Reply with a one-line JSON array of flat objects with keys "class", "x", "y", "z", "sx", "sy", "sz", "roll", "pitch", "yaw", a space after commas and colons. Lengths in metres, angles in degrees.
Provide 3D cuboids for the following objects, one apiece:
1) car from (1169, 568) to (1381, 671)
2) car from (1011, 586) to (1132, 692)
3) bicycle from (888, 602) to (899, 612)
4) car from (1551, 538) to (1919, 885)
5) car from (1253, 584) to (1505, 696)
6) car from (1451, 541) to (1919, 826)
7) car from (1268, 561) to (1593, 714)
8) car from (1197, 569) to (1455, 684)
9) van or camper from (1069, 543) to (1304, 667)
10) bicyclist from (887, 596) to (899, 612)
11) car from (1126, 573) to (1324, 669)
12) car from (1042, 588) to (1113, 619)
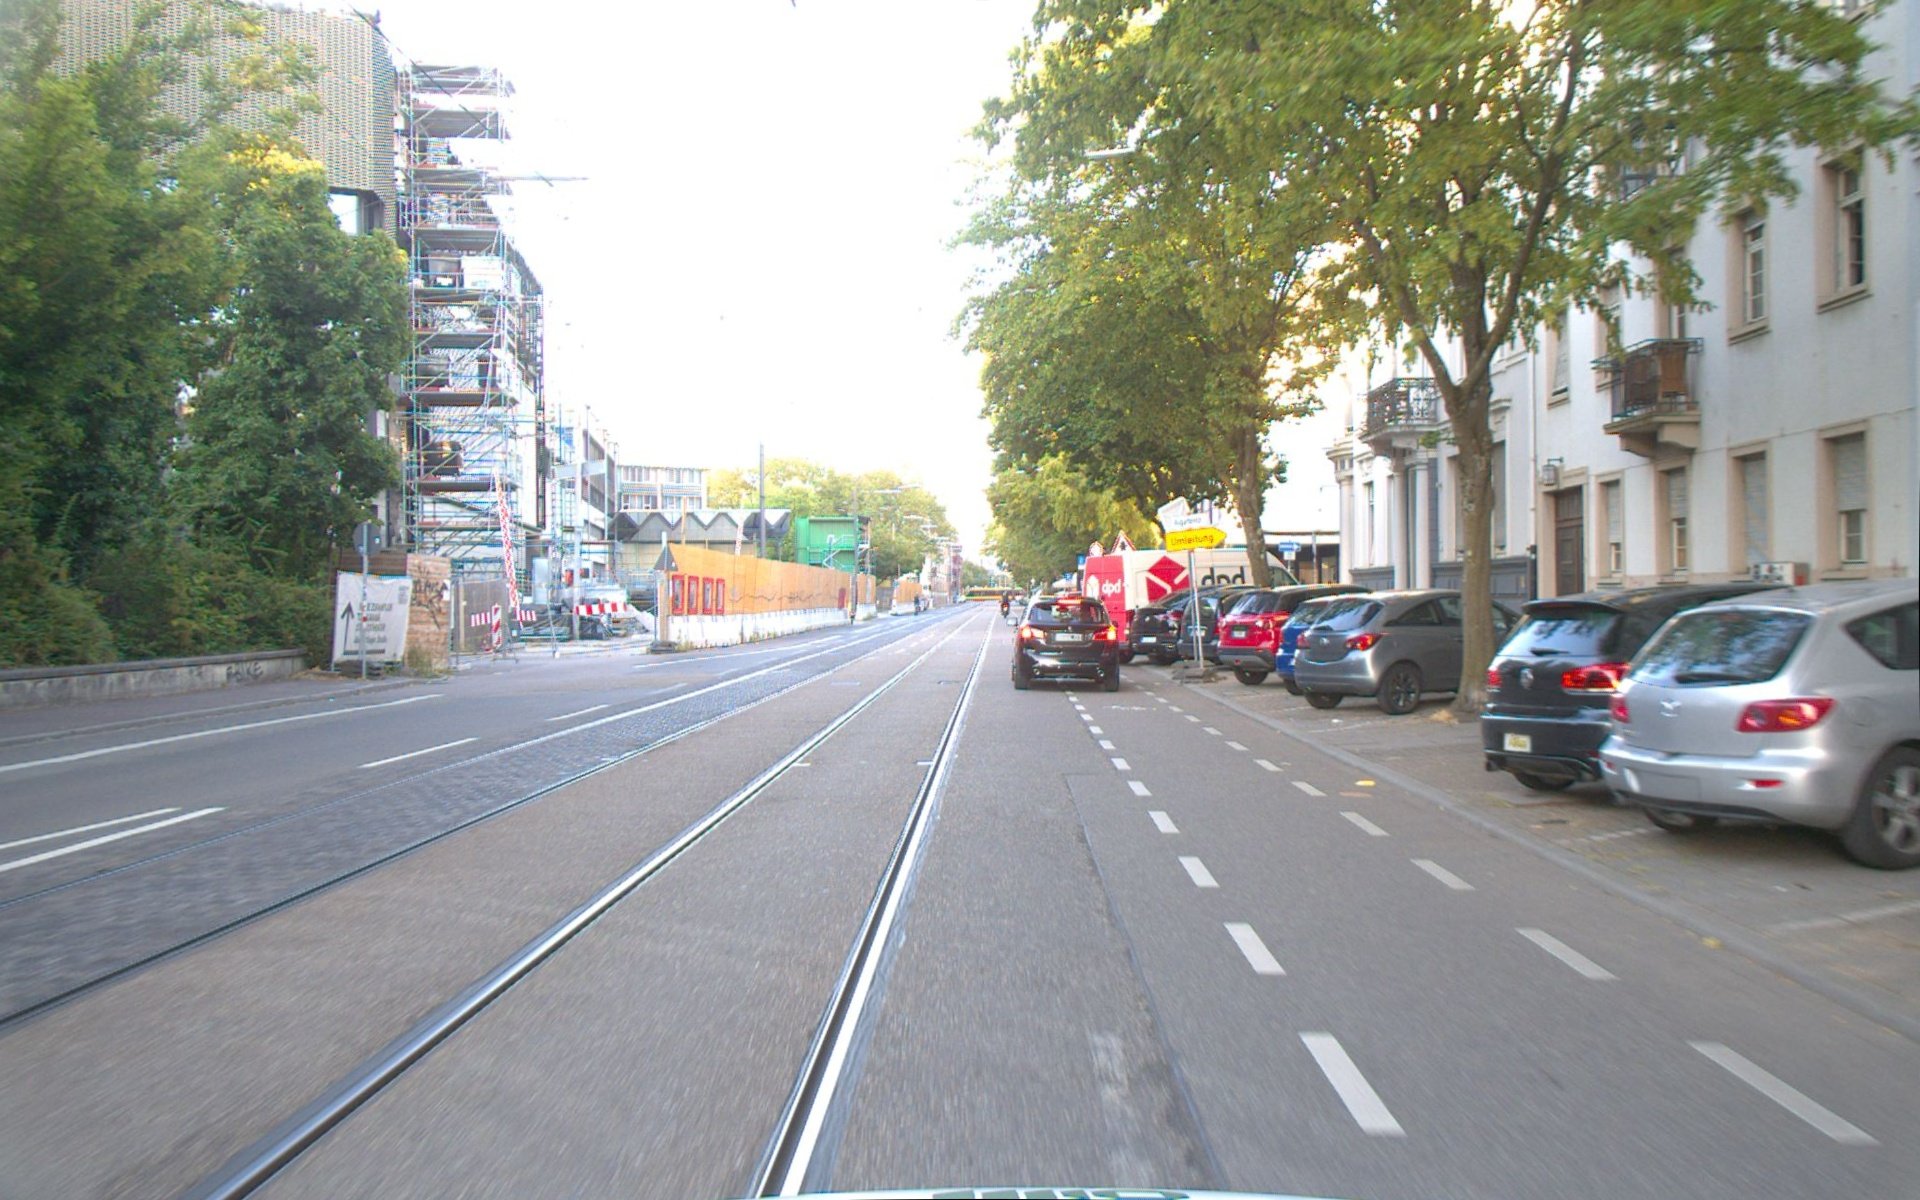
[{"class": "car", "x": 6.476, "y": 0.393, "z": 33.974, "sx": 3.893, "sy": 1.796, "sz": 1.826, "roll": -4, "pitch": 0, "yaw": -25}, {"class": "car", "x": 1.862, "y": 0.615, "z": 28.731, "sx": 1.843, "sy": 1.648, "sz": 4.001, "roll": 2, "pitch": 0, "yaw": 1}, {"class": "bicycle", "x": -5.716, "y": 0.581, "z": 141.874, "sx": 0.928, "sy": 0.864, "sz": 2.696, "roll": -1, "pitch": 0, "yaw": -1}, {"class": "car", "x": 5.664, "y": 0.465, "z": 9.634, "sx": 3.886, "sy": 1.631, "sz": 1.829, "roll": -4, "pitch": 0, "yaw": -21}, {"class": "car", "x": 6.303, "y": 0.573, "z": 24.788, "sx": 3.607, "sy": 1.470, "sz": 1.640, "roll": -2, "pitch": -1, "yaw": -34}, {"class": "car", "x": 5.731, "y": 0.479, "z": 11.876, "sx": 3.887, "sy": 1.631, "sz": 1.828, "roll": -4, "pitch": 0, "yaw": -22}, {"class": "car", "x": 6.109, "y": 0.444, "z": 21.406, "sx": 3.903, "sy": 1.631, "sz": 1.821, "roll": -4, "pitch": 0, "yaw": -31}, {"class": "car", "x": 6.156, "y": 0.424, "z": 27.810, "sx": 3.893, "sy": 1.631, "sz": 1.826, "roll": -3, "pitch": 0, "yaw": -25}, {"class": "van or camper", "x": 5.467, "y": 0.087, "z": 39.585, "sx": 5.483, "sy": 2.574, "sz": 2.062, "roll": -4, "pitch": 0, "yaw": -34}, {"class": "bicyclist", "x": -5.711, "y": 0.316, "z": 141.067, "sx": 0.925, "sy": 1.369, "sz": 1.111, "roll": -1, "pitch": 0, "yaw": -1}, {"class": "car", "x": 5.820, "y": 0.446, "z": 36.368, "sx": 3.893, "sy": 1.796, "sz": 1.826, "roll": -4, "pitch": 0, "yaw": -25}, {"class": "car", "x": 6.953, "y": 0.222, "z": 97.837, "sx": 3.874, "sy": 1.752, "sz": 1.629, "roll": -1, "pitch": 0, "yaw": -13}]
